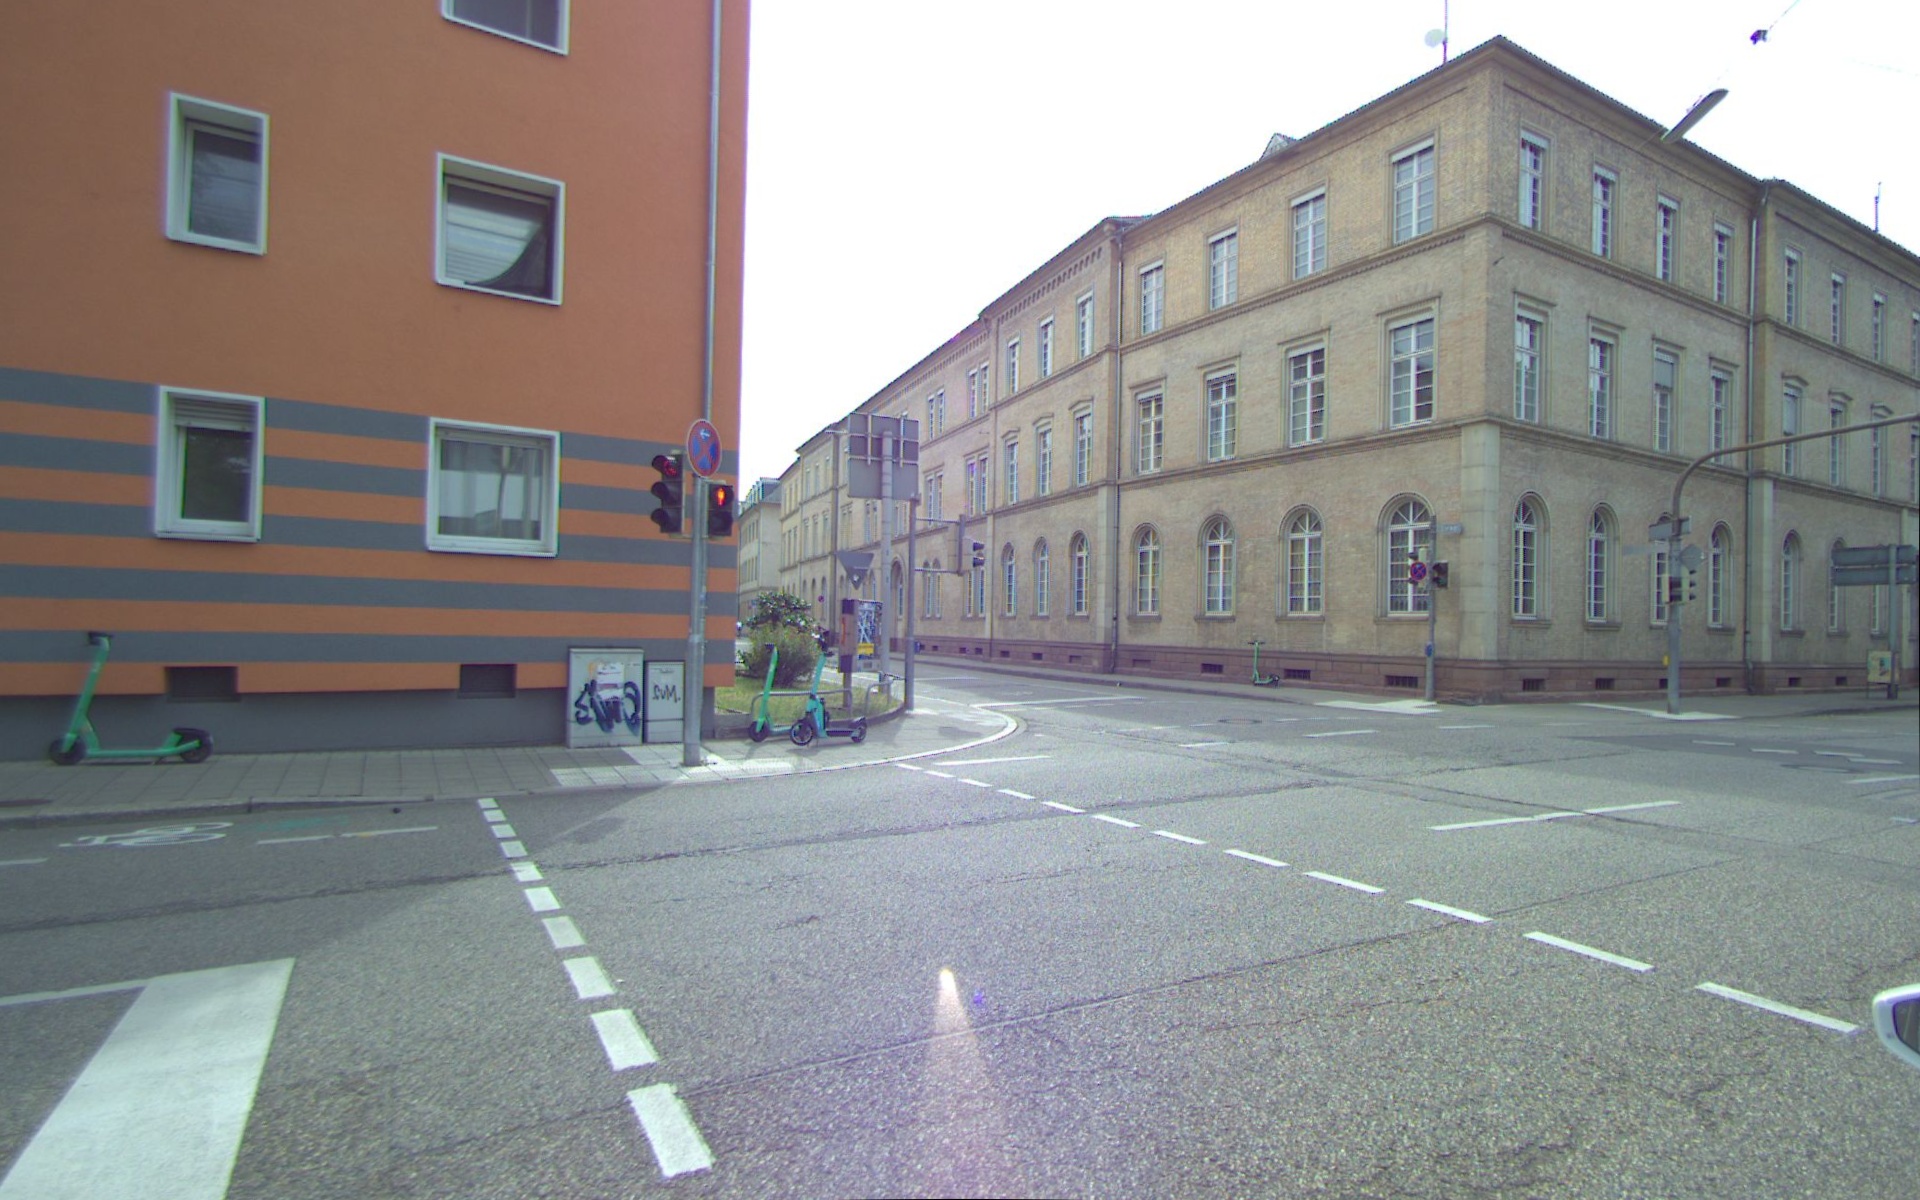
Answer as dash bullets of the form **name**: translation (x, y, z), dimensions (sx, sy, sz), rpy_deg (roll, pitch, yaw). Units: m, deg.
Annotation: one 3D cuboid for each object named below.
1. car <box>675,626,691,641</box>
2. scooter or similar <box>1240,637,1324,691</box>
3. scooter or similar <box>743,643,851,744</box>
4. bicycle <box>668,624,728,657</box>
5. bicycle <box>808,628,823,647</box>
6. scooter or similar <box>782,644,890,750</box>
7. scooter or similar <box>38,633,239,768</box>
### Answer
- **car**: translation (-41.433, 5.062, 150.210), dimensions (1.966, 2.040, 3.990), rpy_deg (2, 0, -13)
- **scooter or similar**: translation (8.064, 1.584, 25.260), dimensions (0.553, 1.180, 2.362), rpy_deg (2, 0, -24)
- **scooter or similar**: translation (-2.012, 1.139, 12.508), dimensions (1.345, 1.173, 0.325), rpy_deg (2, 0, -44)
- **bicycle**: translation (-8.748, 1.358, 33.574), dimensions (1.842, 1.025, 0.558), rpy_deg (2, 0, -27)
- **bicycle**: translation (-9.349, 2.399, 64.840), dimensions (0.560, 1.085, 2.257), rpy_deg (2, 0, -19)
- **scooter or similar**: translation (-1.487, 1.144, 12.173), dimensions (1.334, 1.194, 0.325), rpy_deg (2, 0, -44)
- **scooter or similar**: translation (-7.380, 0.883, 9.082), dimensions (1.338, 1.139, 0.366), rpy_deg (2, 0, -30)
